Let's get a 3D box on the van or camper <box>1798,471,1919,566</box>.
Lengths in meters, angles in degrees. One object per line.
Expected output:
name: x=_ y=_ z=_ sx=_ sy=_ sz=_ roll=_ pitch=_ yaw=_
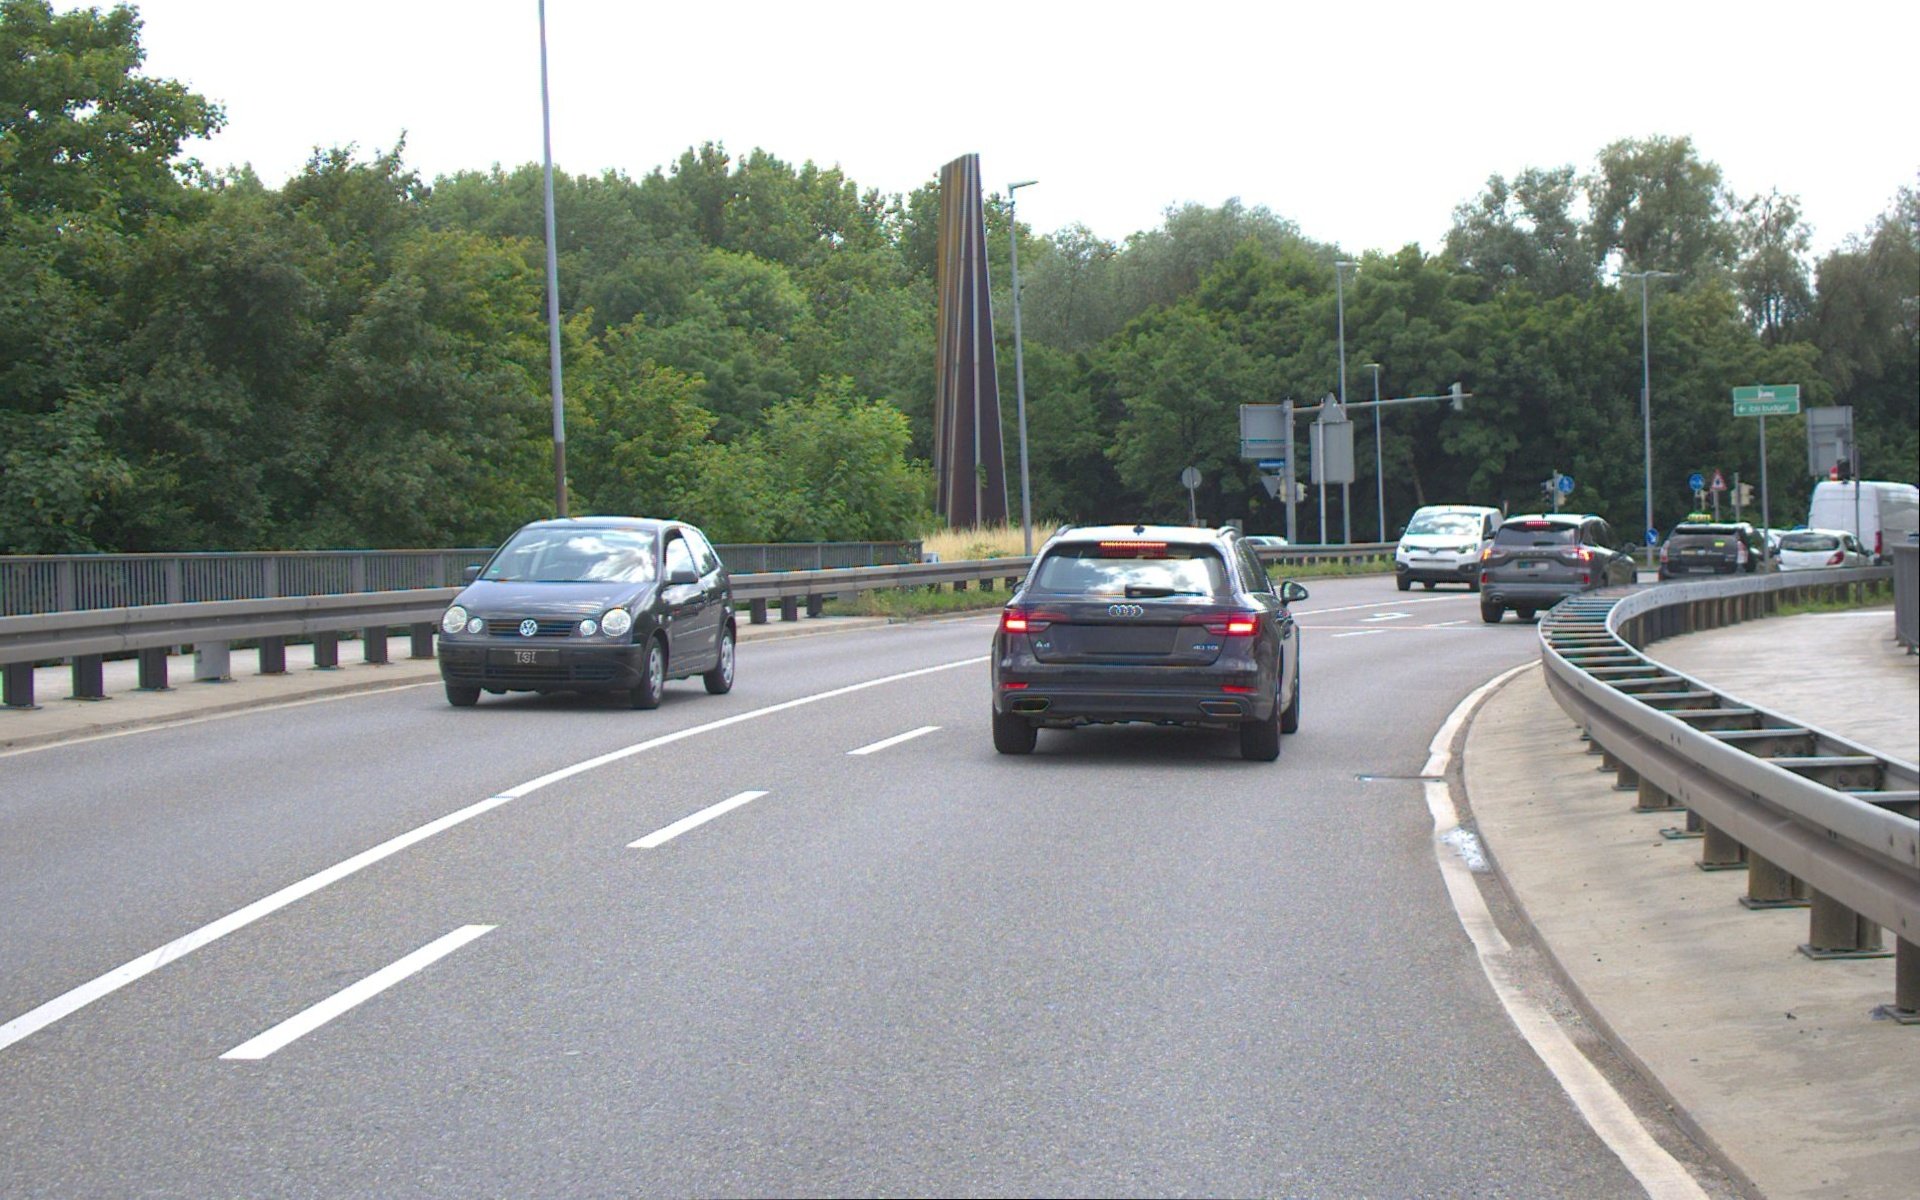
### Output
van or camper: x=23.468 y=-2.135 z=88.673 sx=2.276 sy=2.332 sz=5.233 roll=2 pitch=3 yaw=29

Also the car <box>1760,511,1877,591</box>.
car: x=18.325 y=-1.069 z=73.306 sx=1.736 sy=1.646 sz=3.851 roll=1 pitch=2 yaw=24

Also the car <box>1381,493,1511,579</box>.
car: x=10.441 y=-1.391 z=73.613 sx=1.815 sy=1.748 sz=4.301 roll=2 pitch=2 yaw=21

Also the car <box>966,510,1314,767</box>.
car: x=1.274 y=0.176 z=22.500 sx=1.828 sy=1.486 sz=4.205 roll=1 pitch=1 yaw=9

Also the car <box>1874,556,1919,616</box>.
car: x=23.184 y=-0.352 z=82.325 sx=1.686 sy=1.393 sz=3.673 roll=1 pitch=1 yaw=28

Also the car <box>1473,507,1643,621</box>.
car: x=9.202 y=-0.578 z=52.728 sx=1.823 sy=1.646 sz=3.852 roll=2 pitch=2 yaw=21

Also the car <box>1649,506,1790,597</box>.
car: x=14.402 y=-0.929 z=65.077 sx=1.736 sy=1.646 sz=3.850 roll=1 pitch=2 yaw=26

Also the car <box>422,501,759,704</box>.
car: x=-2.831 y=-0.035 z=27.176 sx=1.815 sy=1.447 sz=3.925 roll=1 pitch=2 yaw=6
